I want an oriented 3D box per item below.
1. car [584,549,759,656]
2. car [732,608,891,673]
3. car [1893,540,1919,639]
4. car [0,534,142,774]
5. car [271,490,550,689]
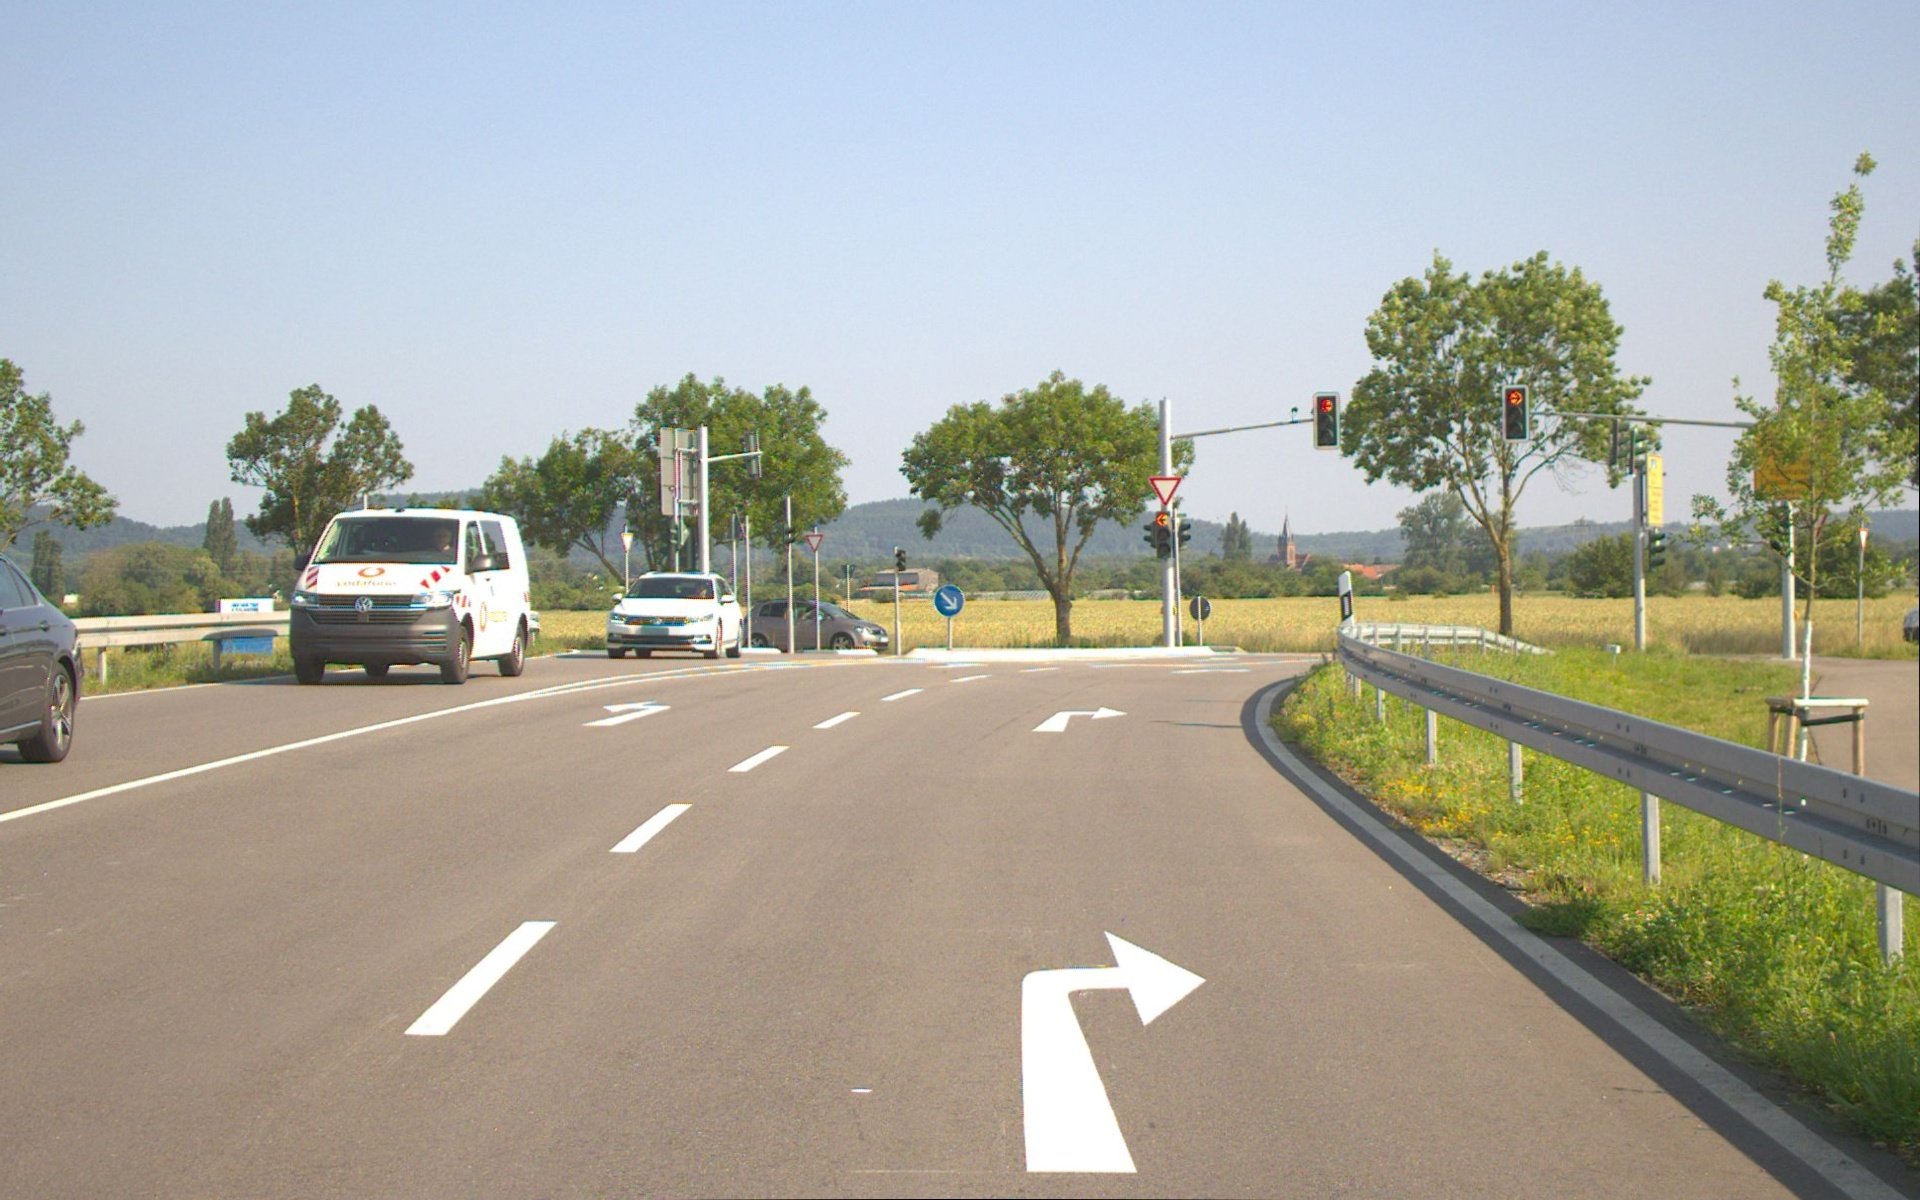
[{"bbox_3d":[-4.805,0.002,57.988,2.115,1.488,5.153,2,3,4],"label":"car"},{"bbox_3d":[-4.039,1.104,93.735,3.958,1.662,1.762,1,-1,16],"label":"car"},{"bbox_3d":[26.724,-0.207,86.864,5.962,2.484,1.998,1,-1,18],"label":"car"},{"bbox_3d":[-6.662,0.318,21.143,1.795,1.443,4.705,0,1,5],"label":"car"},{"bbox_3d":[-6.195,-0.196,39.399,2.115,2.006,5.154,2,3,3],"label":"car"}]
